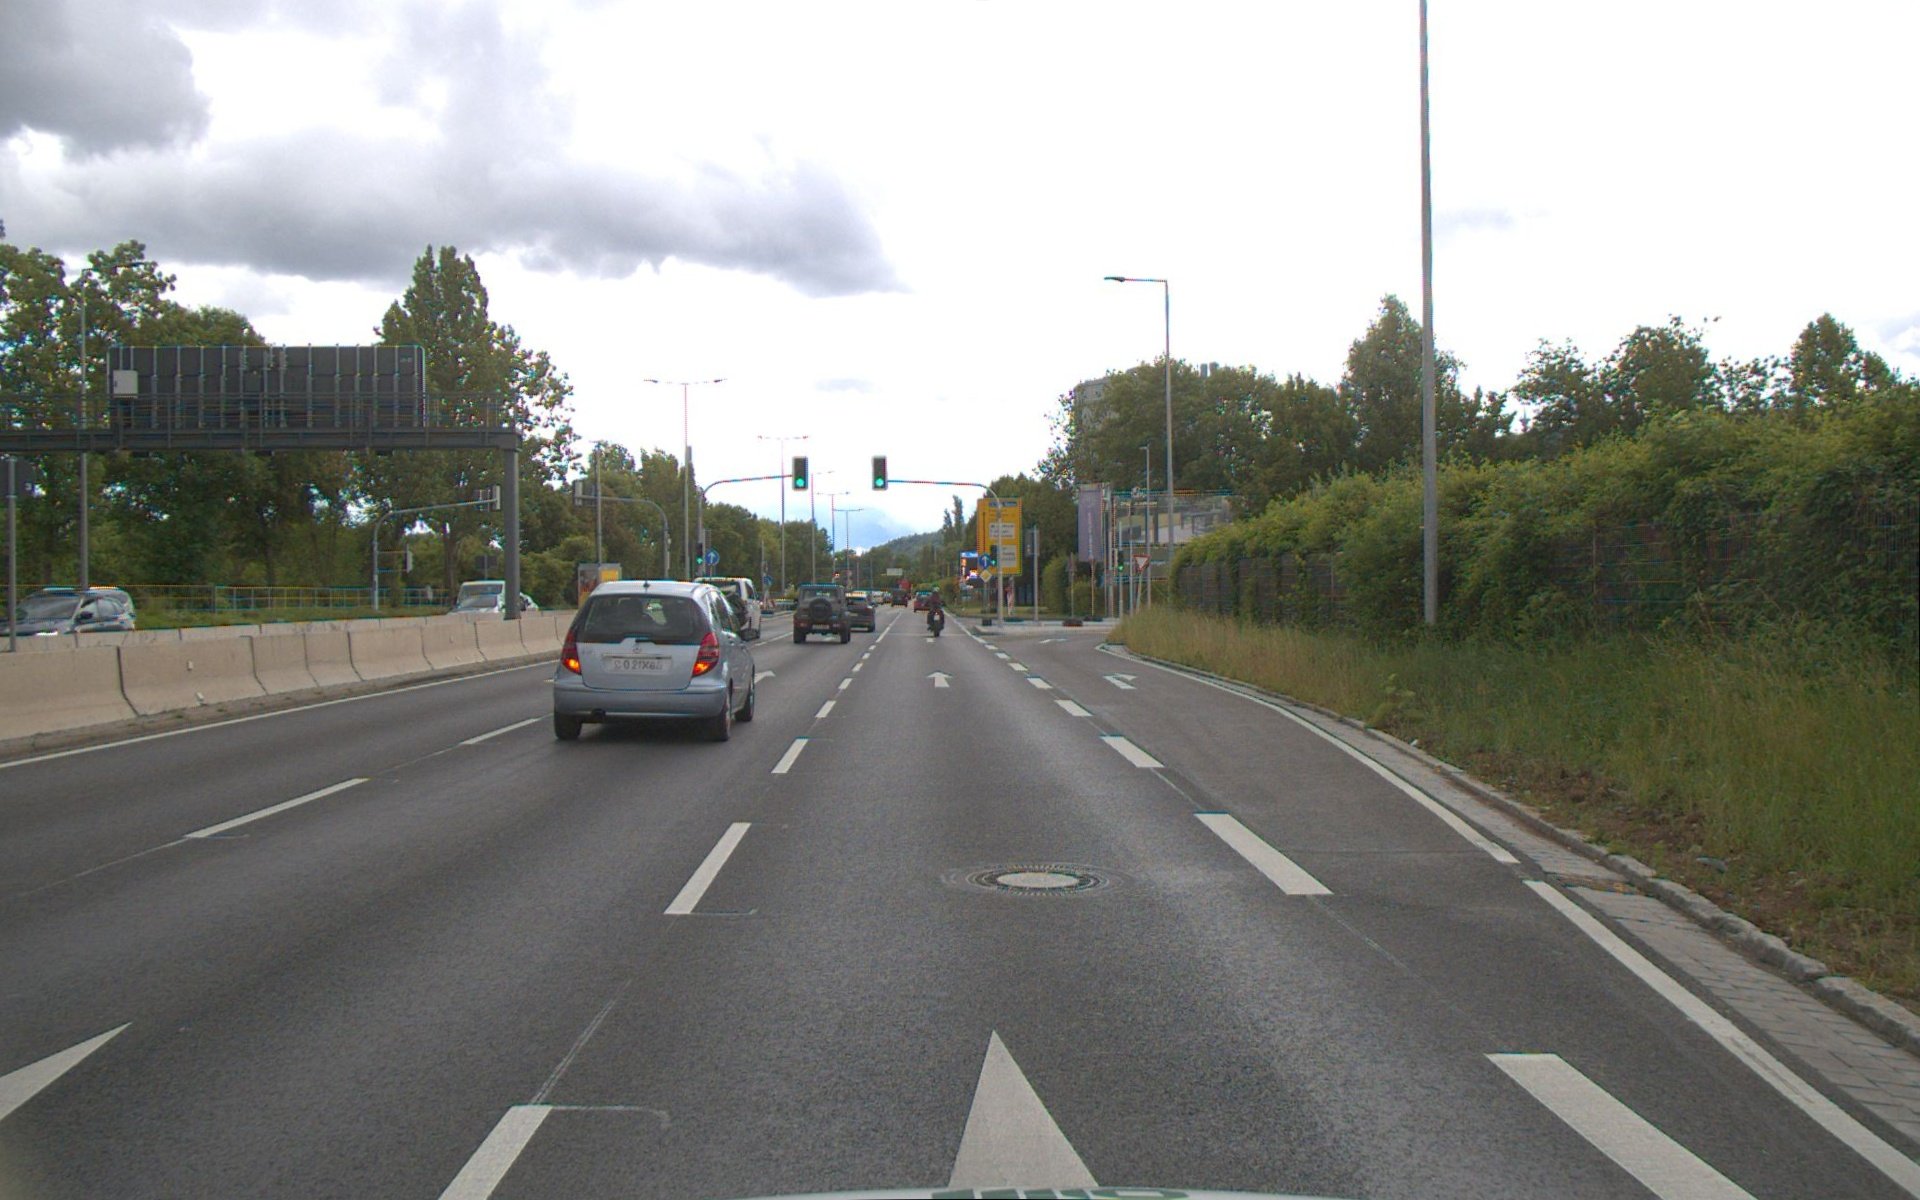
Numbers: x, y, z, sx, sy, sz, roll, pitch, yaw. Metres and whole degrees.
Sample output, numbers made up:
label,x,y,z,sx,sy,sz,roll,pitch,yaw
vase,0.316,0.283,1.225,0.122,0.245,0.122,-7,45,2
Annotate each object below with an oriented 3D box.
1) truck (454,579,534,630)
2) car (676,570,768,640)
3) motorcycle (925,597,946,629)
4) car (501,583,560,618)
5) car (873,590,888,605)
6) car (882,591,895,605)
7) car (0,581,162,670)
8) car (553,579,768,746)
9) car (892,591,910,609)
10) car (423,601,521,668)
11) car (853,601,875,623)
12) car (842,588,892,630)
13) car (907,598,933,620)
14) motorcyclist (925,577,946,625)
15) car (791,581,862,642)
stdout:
label,x,y,z,sx,sy,sz,roll,pitch,yaw
truck,-19.979,0.147,71.214,2.161,2.049,6.295,1,1,-5
car,-7.128,0.111,50.104,2.170,1.959,5.001,1,1,-2
motorcycle,-0.850,0.447,57.633,0.692,1.058,2.027,1,1,0
car,-21.937,0.004,84.708,1.953,1.714,4.410,1,1,-2
car,-11.155,-0.352,232.124,1.953,2.049,3.999,1,1,-1
car,-11.222,-0.290,260.272,1.953,2.049,3.999,1,1,-1
car,-18.776,0.493,35.012,1.840,1.712,4.125,1,1,-2
car,-3.096,0.575,17.819,1.676,1.556,3.999,1,1,-2
car,-6.694,-0.011,188.840,1.953,2.049,3.999,1,1,-1
car,-16.368,1.121,55.687,1.953,2.049,4.680,1,1,-2
car,-9.426,1.168,163.016,1.953,2.049,3.999,1,1,-1
car,-3.554,0.325,63.911,1.803,1.489,3.999,1,1,-2
car,-3.099,0.674,127.660,1.954,1.579,3.998,1,1,-3
motorcyclist,-0.860,0.039,57.628,0.671,1.638,0.845,1,0,0
car,-3.978,0.318,49.932,1.869,1.713,3.999,1,1,-1
